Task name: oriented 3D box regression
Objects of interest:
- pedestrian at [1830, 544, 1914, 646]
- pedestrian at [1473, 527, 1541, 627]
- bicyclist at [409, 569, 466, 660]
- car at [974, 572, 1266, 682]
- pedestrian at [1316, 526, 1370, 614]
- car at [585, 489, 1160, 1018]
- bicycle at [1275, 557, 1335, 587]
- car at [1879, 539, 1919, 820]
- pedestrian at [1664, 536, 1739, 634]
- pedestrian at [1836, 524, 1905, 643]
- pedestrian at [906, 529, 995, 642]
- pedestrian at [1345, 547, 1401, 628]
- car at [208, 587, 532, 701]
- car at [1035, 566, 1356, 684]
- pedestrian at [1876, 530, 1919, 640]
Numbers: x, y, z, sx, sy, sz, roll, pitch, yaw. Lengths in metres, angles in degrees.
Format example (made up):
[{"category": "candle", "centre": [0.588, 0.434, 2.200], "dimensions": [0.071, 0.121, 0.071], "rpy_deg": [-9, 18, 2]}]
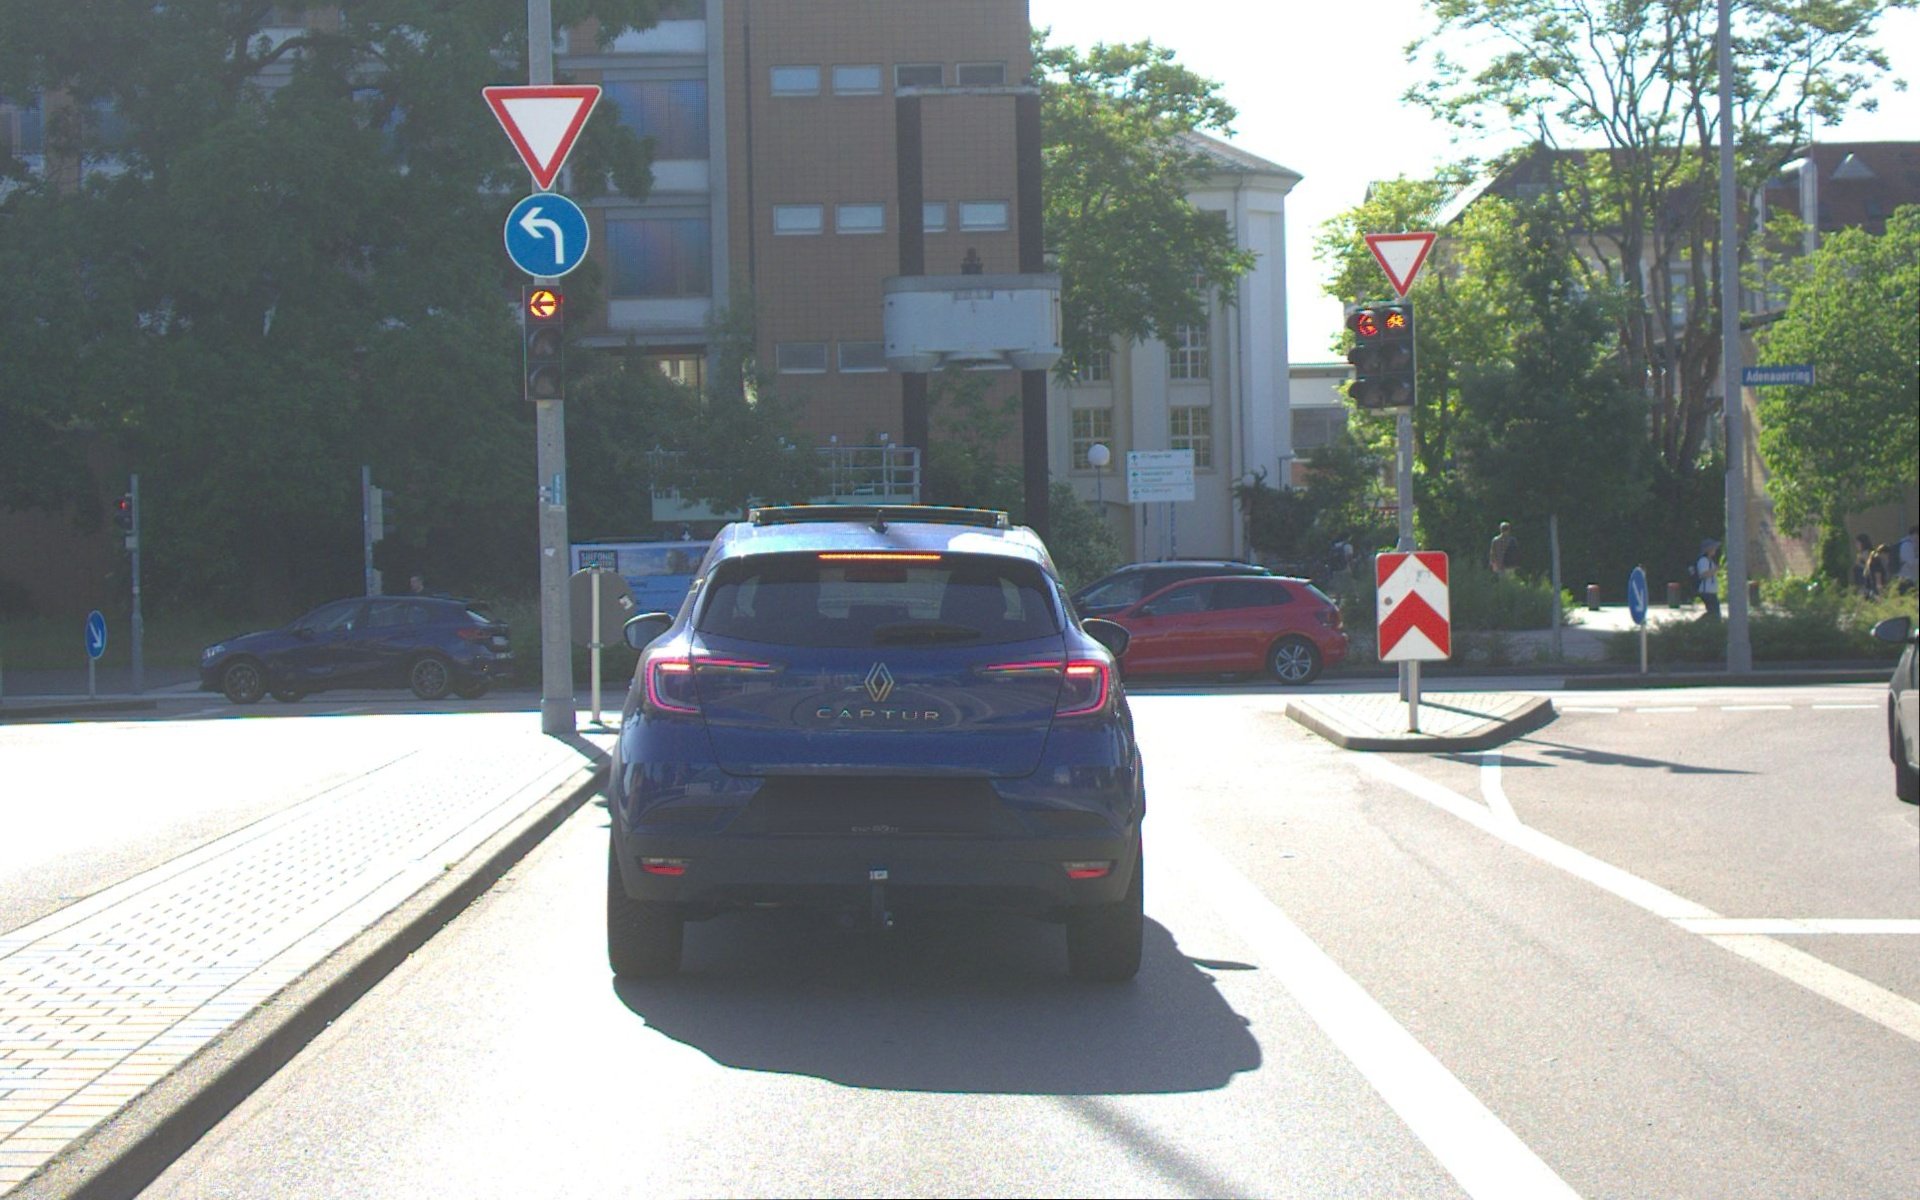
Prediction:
[{"category": "pedestrian", "centre": [13.882, -0.085, 52.339], "dimensions": [1.074, 1.515, 0.878], "rpy_deg": [-1, 1, 4]}, {"category": "pedestrian", "centre": [11.119, -0.472, 69.863], "dimensions": [1.156, 2.007, 1.164], "rpy_deg": [-1, 1, -1]}, {"category": "bicyclist", "centre": [-8.274, 0.236, 54.402], "dimensions": [0.647, 1.407, 0.638], "rpy_deg": [-2, -1, 16]}, {"category": "car", "centre": [2.241, 0.367, 48.930], "dimensions": [4.044, 1.434, 2.066], "rpy_deg": [-1, 1, 1]}, {"category": "pedestrian", "centre": [7.726, -0.614, 69.420], "dimensions": [0.953, 1.735, 0.984], "rpy_deg": [-1, 1, -1]}, {"category": "car", "centre": [-0.340, 0.443, 12.747], "dimensions": [1.794, 1.649, 3.854], "rpy_deg": [1, 1, -2]}, {"category": "bicycle", "centre": [10.569, -0.866, 105.347], "dimensions": [1.771, 0.895, 0.765], "rpy_deg": [-1, 1, 0]}, {"category": "car", "centre": [6.006, 0.431, 18.260], "dimensions": [1.737, 1.511, 3.999], "rpy_deg": [0, 1, 9]}, {"category": "pedestrian", "centre": [11.660, -0.239, 54.104], "dimensions": [1.085, 1.515, 0.930], "rpy_deg": [-1, 1, 9]}, {"category": "pedestrian", "centre": [14.350, -0.270, 54.209], "dimensions": [0.932, 1.849, 0.807], "rpy_deg": [-1, 1, 8]}, {"category": "pedestrian", "centre": [-0.159, -0.254, 57.307], "dimensions": [1.298, 1.849, 0.966], "rpy_deg": [-1, 1, 11]}, {"category": "pedestrian", "centre": [8.309, -0.261, 69.214], "dimensions": [0.936, 1.607, 1.176], "rpy_deg": [-1, 1, -1]}, {"category": "car", "centre": [-8.054, 0.596, 47.153], "dimensions": [3.902, 1.443, 2.101], "rpy_deg": [-1, 1, 8]}, {"category": "car", "centre": [3.119, 0.314, 45.035], "dimensions": [4.046, 1.434, 2.065], "rpy_deg": [-1, 1, 8]}, {"category": "pedestrian", "centre": [15.145, -0.245, 54.818], "dimensions": [0.964, 1.726, 0.925], "rpy_deg": [-1, 1, 18]}]
